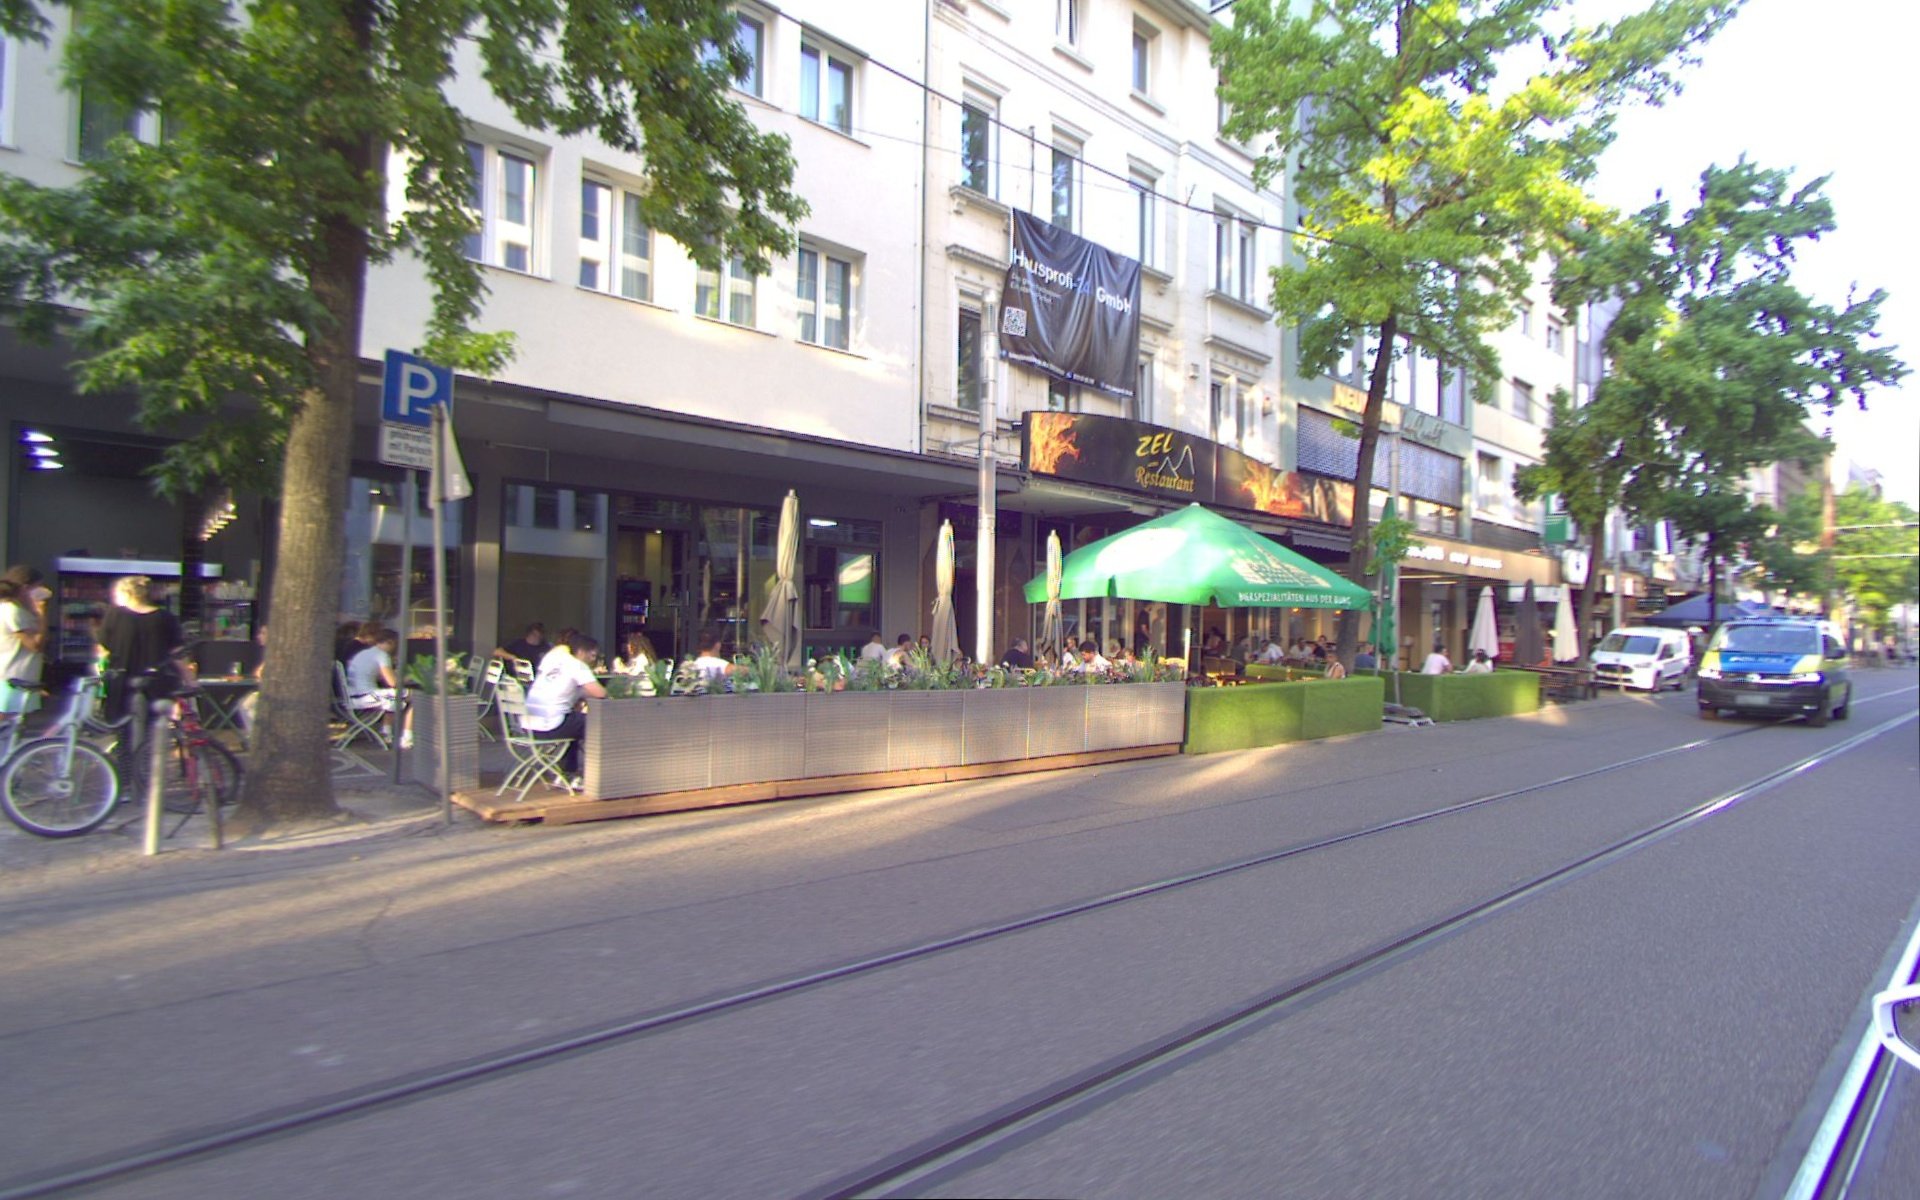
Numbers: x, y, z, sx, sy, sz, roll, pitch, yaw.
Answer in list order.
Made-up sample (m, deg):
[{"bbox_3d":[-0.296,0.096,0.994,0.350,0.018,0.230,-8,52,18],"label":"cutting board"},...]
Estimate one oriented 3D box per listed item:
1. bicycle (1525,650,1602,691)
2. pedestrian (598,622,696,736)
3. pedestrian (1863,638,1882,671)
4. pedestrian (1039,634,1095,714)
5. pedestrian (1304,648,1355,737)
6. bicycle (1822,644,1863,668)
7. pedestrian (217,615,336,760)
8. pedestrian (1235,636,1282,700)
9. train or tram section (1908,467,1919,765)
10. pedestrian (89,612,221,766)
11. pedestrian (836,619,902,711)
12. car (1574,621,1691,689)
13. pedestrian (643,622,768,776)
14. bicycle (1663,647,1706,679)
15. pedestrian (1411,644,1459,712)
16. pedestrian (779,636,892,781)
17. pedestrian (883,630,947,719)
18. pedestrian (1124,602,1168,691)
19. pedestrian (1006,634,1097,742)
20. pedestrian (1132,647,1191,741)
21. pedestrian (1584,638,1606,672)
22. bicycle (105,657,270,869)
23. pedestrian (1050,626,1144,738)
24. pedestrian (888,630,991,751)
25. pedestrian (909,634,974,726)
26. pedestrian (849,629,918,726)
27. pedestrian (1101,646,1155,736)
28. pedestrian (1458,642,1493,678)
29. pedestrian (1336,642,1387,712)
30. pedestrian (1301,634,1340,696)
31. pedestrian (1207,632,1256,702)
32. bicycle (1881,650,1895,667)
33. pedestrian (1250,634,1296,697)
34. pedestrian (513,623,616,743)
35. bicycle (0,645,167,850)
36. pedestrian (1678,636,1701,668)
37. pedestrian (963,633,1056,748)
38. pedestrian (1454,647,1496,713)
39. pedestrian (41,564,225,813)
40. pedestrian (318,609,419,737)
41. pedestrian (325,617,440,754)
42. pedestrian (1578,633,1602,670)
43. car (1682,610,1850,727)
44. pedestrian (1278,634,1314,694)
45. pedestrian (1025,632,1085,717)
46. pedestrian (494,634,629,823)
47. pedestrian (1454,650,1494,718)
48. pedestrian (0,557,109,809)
[{"bbox_3d":[16.819,1.959,27.979,1.985,1.082,0.611,2,-1,-13],"label":"bicycle"},{"bbox_3d":[-3.898,0.967,12.496,0.874,1.337,0.841,3,-2,-38],"label":"pedestrian"},{"bbox_3d":[53.194,3.171,58.533,0.743,1.904,0.572,3,0,44],"label":"pedestrian"},{"bbox_3d":[1.963,1.338,18.359,0.760,1.396,0.648,3,-2,-42],"label":"pedestrian"},{"bbox_3d":[5.973,1.481,16.234,0.560,1.396,0.542,3,-2,-42],"label":"pedestrian"},{"bbox_3d":[54.189,3.436,61.716,1.773,1.378,0.658,4,0,36],"label":"bicycle"},{"bbox_3d":[-6.785,0.839,9.970,0.874,1.337,0.841,3,-2,-38],"label":"pedestrian"},{"bbox_3d":[6.443,1.461,21.699,0.760,1.348,0.648,3,-2,-42],"label":"pedestrian"},{"bbox_3d":[16.125,0.379,14.527,10.300,3.570,2.988,3,-2,-44],"label":"train or tram section"},{"bbox_3d":[-7.523,0.804,9.412,0.874,1.337,0.878,3,-2,-39],"label":"pedestrian"},{"bbox_3d":[-1.427,1.012,15.769,0.760,1.396,0.648,3,-2,-42],"label":"pedestrian"},{"bbox_3d":[20.175,1.654,30.071,4.481,1.842,1.778,4,-1,-41],"label":"car"},{"bbox_3d":[-2.446,0.916,9.663,0.917,1.380,0.710,3,-2,-40],"label":"pedestrian"},{"bbox_3d":[27.742,2.383,38.506,0.798,1.118,2.165,0,-1,21],"label":"bicycle"},{"bbox_3d":[9.924,1.612,20.990,0.725,1.363,0.638,3,-2,-41],"label":"pedestrian"},{"bbox_3d":[-1.274,1.076,10.256,0.865,1.380,0.710,3,-2,-40],"label":"pedestrian"},{"bbox_3d":[-0.731,1.202,16.390,0.760,1.396,0.648,3,-2,-42],"label":"pedestrian"},{"bbox_3d":[3.858,0.951,20.782,0.644,1.789,0.764,1,-2,29],"label":"pedestrian"},{"bbox_3d":[1.244,1.173,13.634,1.004,1.380,0.710,3,-2,-40],"label":"pedestrian"},{"bbox_3d":[2.800,1.293,13.953,0.540,1.252,0.580,3,-2,-40],"label":"pedestrian"},{"bbox_3d":[24.562,2.126,38.867,0.656,1.258,0.506,3,1,-42],"label":"pedestrian"},{"bbox_3d":[-5.211,0.998,6.730,0.622,1.154,1.842,3,-2,-44],"label":"bicycle"},{"bbox_3d":[1.796,1.052,13.119,1.004,1.380,0.710,3,-2,-40],"label":"pedestrian"},{"bbox_3d":[-0.248,1.076,12.253,1.004,1.380,0.710,3,-2,-40],"label":"pedestrian"},{"bbox_3d":[-0.288,1.250,15.848,0.760,1.396,0.648,3,-2,-42],"label":"pedestrian"},{"bbox_3d":[-1.146,1.145,15.086,0.760,1.396,0.648,3,-2,-42],"label":"pedestrian"},{"bbox_3d":[2.412,1.292,14.422,0.507,1.234,0.538,3,-2,-40],"label":"pedestrian"},{"bbox_3d":[17.029,1.968,33.173,0.724,1.109,0.770,3,0,-42],"label":"pedestrian"},{"bbox_3d":[7.690,1.461,19.235,0.595,1.281,0.702,3,-2,-42],"label":"pedestrian"},{"bbox_3d":[8.439,1.513,23.503,0.643,1.396,0.599,3,-2,-42],"label":"pedestrian"},{"bbox_3d":[5.666,1.392,20.929,0.760,1.396,0.648,3,-2,-42],"label":"pedestrian"},{"bbox_3d":[62.449,3.938,67.614,0.604,1.141,2.240,4,0,42],"label":"bicycle"},{"bbox_3d":[7.187,1.486,23.048,0.760,1.396,0.684,3,-2,-42],"label":"pedestrian"},{"bbox_3d":[-4.686,0.961,11.905,0.874,1.337,0.878,3,-2,-39],"label":"pedestrian"},{"bbox_3d":[-6.346,0.911,6.695,1.830,1.154,0.780,1,-2,20],"label":"bicycle"},{"bbox_3d":[30.435,2.168,41.898,0.556,1.273,0.598,3,1,-40],"label":"pedestrian"},{"bbox_3d":[0.630,1.125,12.794,0.917,1.380,0.710,3,-2,-40],"label":"pedestrian"},{"bbox_3d":[10.458,1.613,20.390,0.637,1.283,0.546,3,-2,-41],"label":"pedestrian"},{"bbox_3d":[-6.212,0.645,7.579,0.765,1.764,0.642,2,-1,6],"label":"pedestrian"},{"bbox_3d":[-6.528,0.791,11.093,0.835,1.337,0.617,3,-2,-39],"label":"pedestrian"},{"bbox_3d":[-6.064,0.870,10.548,0.874,1.337,0.878,3,-2,-39],"label":"pedestrian"},{"bbox_3d":[25.347,2.061,40.418,0.507,1.453,0.605,3,1,-39],"label":"pedestrian"},{"bbox_3d":[15.864,1.263,19.672,4.817,2.002,1.974,3,-2,-44],"label":"car"},{"bbox_3d":[8.048,1.528,24.068,0.674,1.396,0.532,3,-2,-42],"label":"pedestrian"},{"bbox_3d":[1.637,1.269,17.273,0.760,1.396,0.648,3,-2,-42],"label":"pedestrian"},{"bbox_3d":[-3.189,0.986,8.040,0.786,1.395,0.687,3,-2,-40],"label":"pedestrian"},{"bbox_3d":[10.916,1.765,21.343,0.560,1.396,0.574,3,-2,-42],"label":"pedestrian"},{"bbox_3d":[-6.978,0.584,7.449,0.766,1.764,0.642,2,-1,17],"label":"pedestrian"}]
